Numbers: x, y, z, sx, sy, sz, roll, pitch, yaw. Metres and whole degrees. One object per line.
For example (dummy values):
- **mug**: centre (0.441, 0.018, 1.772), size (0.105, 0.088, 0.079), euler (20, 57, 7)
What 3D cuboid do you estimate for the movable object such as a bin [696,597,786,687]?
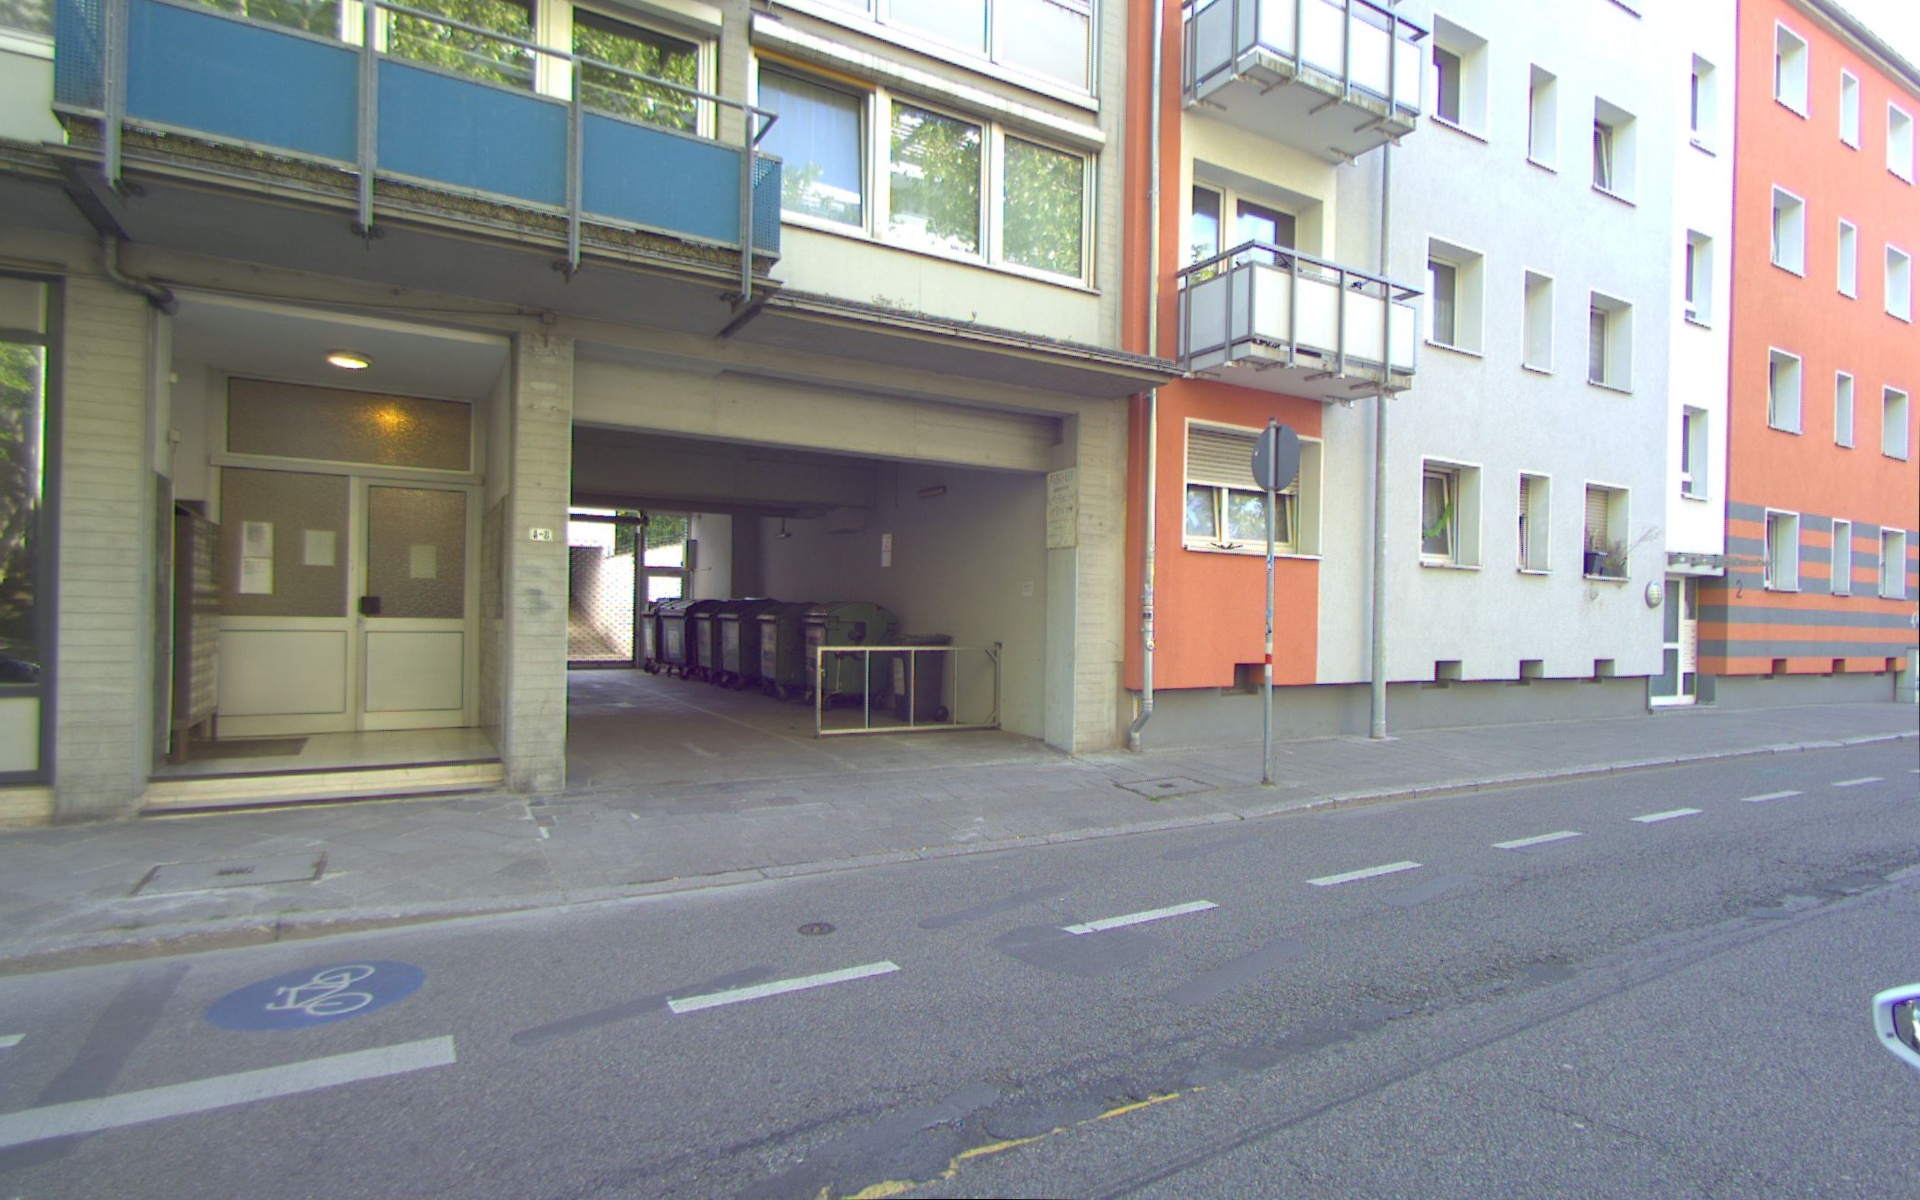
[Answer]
- **movable object such as a bin**: centre (-3.882, 0.726, 17.759), size (1.264, 1.515, 1.155), euler (2, 0, -28)

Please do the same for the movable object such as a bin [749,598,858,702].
- **movable object such as a bin**: centre (-2.382, 0.733, 15.175), size (1.264, 1.493, 1.265), euler (2, -1, -28)

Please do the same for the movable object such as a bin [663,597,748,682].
- **movable object such as a bin**: centre (-4.747, 0.718, 18.702), size (1.264, 1.506, 1.155), euler (2, 0, -28)

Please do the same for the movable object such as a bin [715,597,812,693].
- **movable object such as a bin**: centre (-3.279, 0.725, 16.711), size (1.264, 1.506, 1.155), euler (2, 0, -28)

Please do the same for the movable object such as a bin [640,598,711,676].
- **movable object such as a bin**: centre (-5.666, 0.729, 19.958), size (1.128, 1.484, 1.129), euler (2, 0, -28)

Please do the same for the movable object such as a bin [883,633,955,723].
- **movable object such as a bin**: centre (-0.517, 0.959, 12.469), size (0.694, 1.061, 0.567), euler (2, 0, -28)

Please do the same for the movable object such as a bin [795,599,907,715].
- **movable object such as a bin**: centre (-1.516, 0.754, 13.821), size (1.128, 1.484, 1.255), euler (2, 0, -28)
